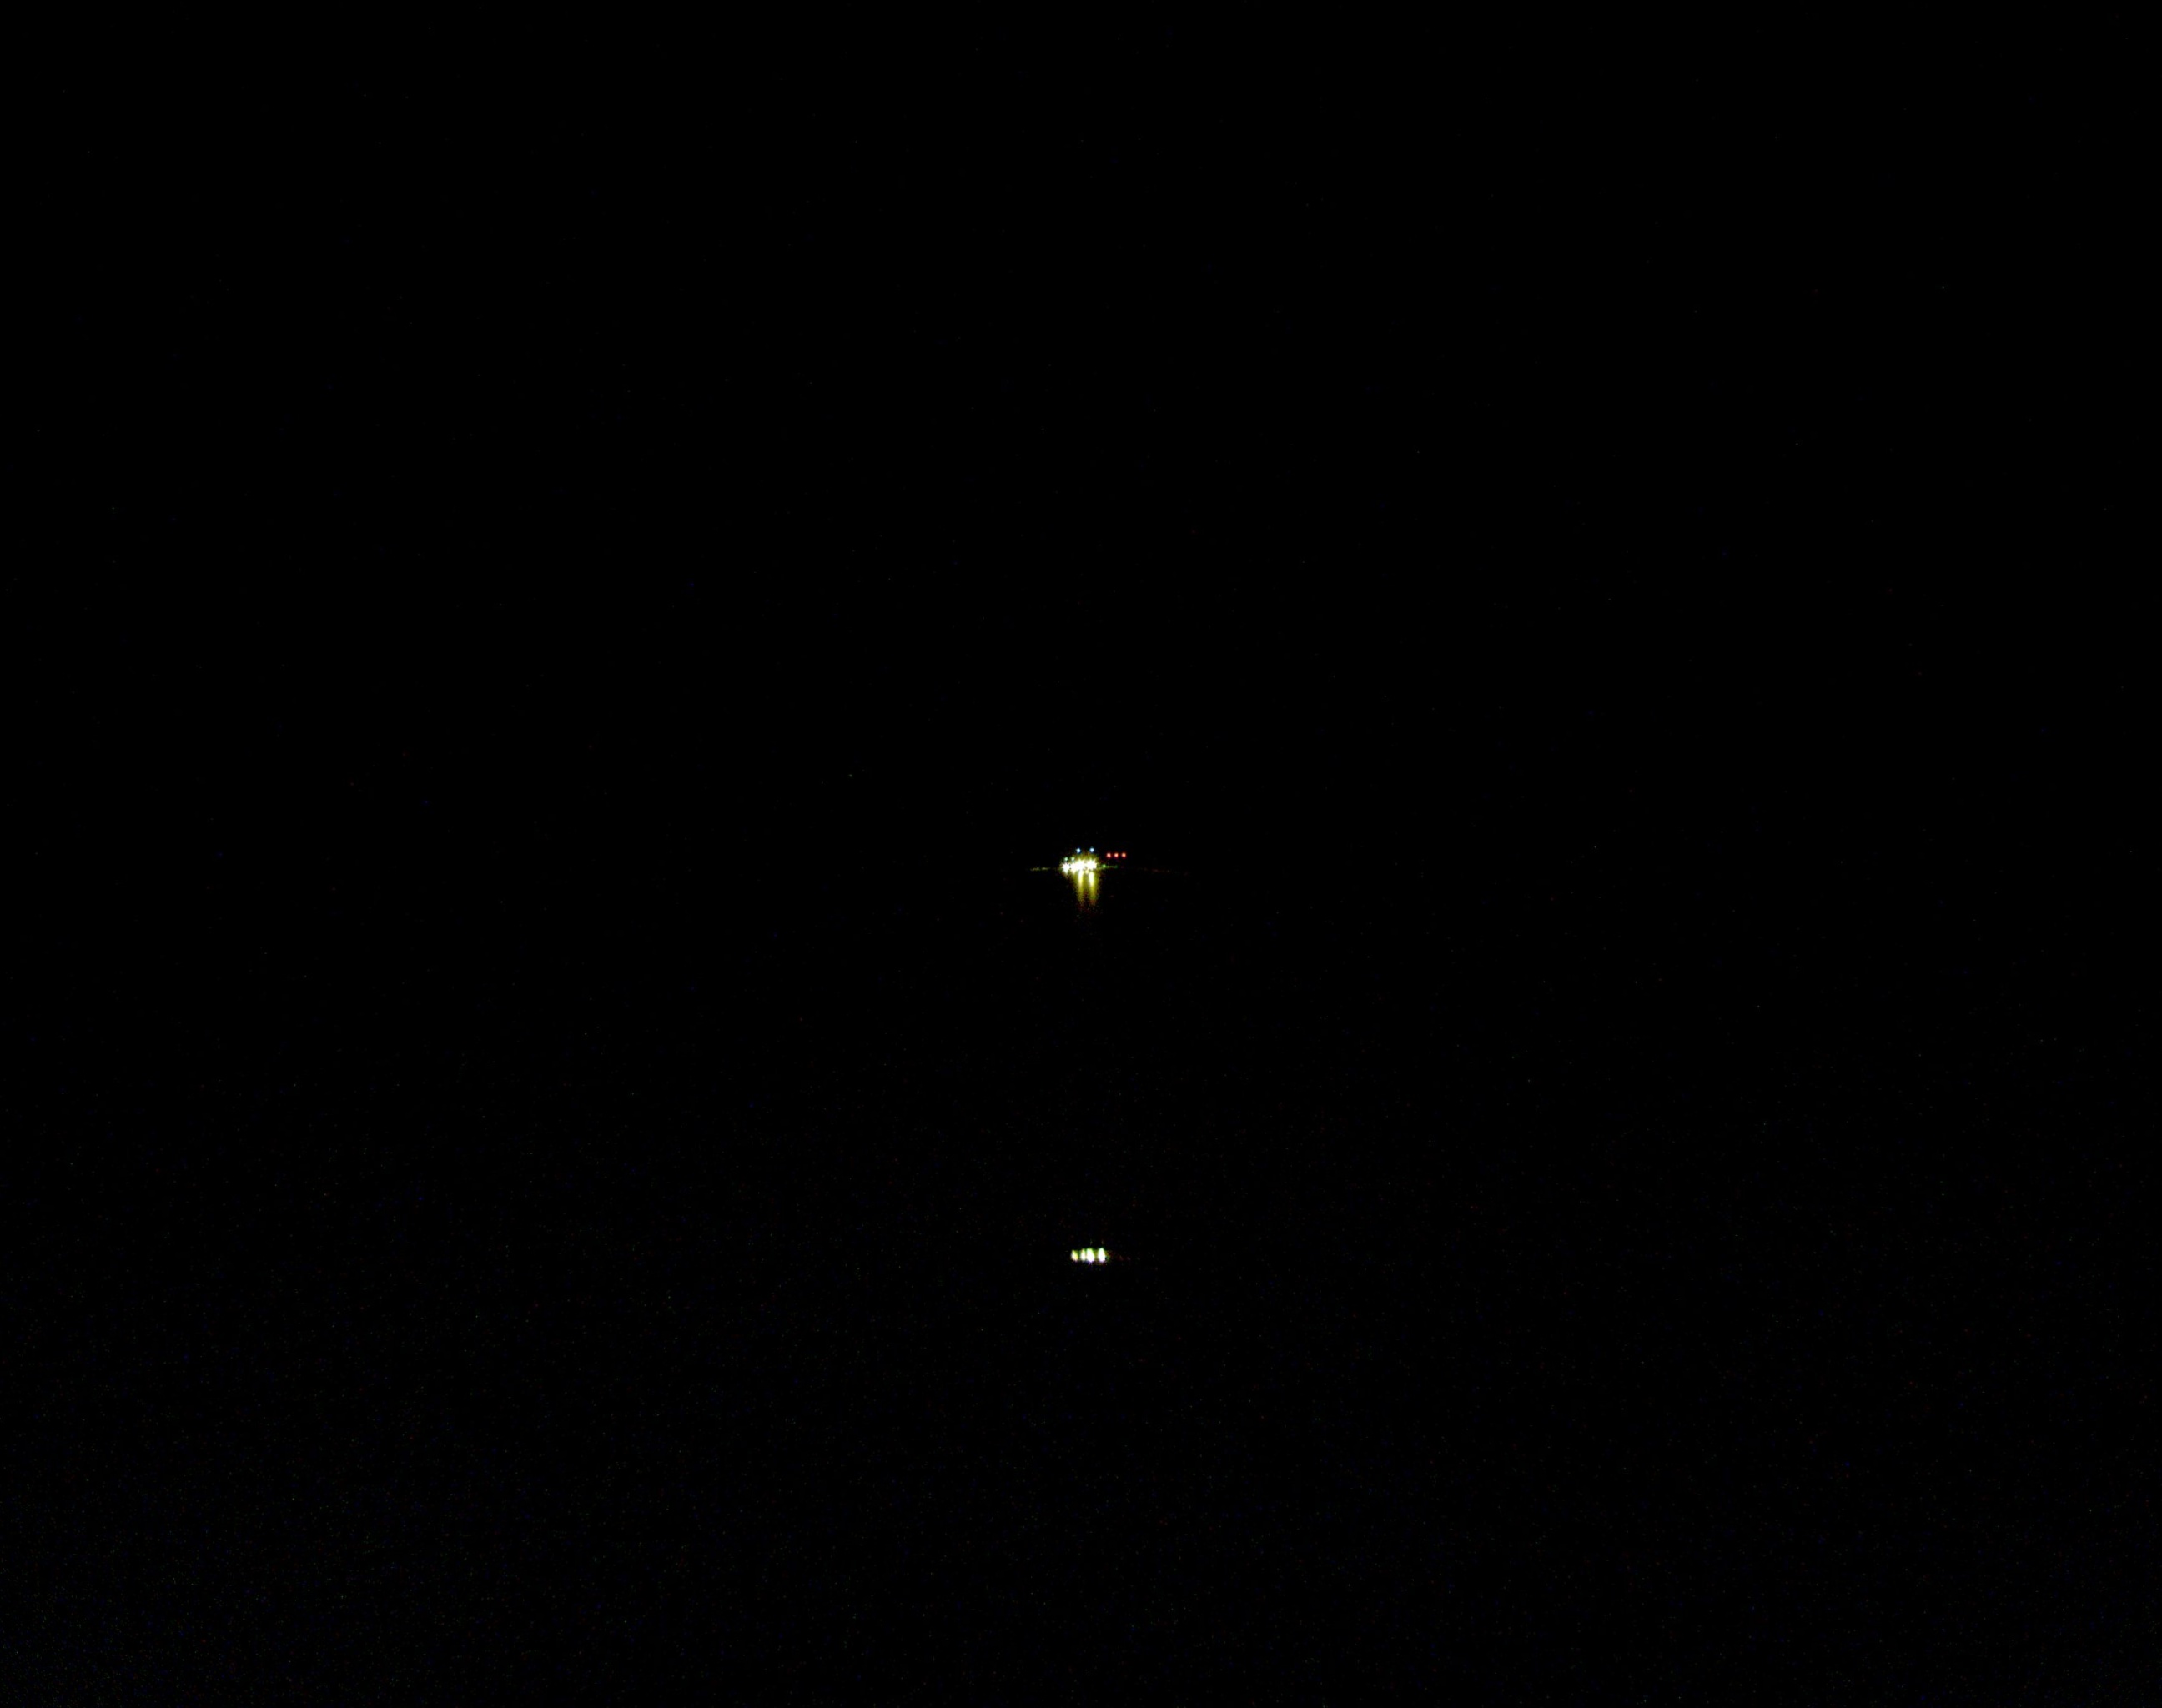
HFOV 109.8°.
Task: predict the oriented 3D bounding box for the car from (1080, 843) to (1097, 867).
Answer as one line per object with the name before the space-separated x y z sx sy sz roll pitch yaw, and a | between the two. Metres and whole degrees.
car | 1.010 0.144 106.747 2.255 3.205 6.877 -2 1 0

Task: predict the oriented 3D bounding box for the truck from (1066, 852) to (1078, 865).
truck | -2.571 1.238 219.651 3.042 3.726 7.559 -1 0 0
